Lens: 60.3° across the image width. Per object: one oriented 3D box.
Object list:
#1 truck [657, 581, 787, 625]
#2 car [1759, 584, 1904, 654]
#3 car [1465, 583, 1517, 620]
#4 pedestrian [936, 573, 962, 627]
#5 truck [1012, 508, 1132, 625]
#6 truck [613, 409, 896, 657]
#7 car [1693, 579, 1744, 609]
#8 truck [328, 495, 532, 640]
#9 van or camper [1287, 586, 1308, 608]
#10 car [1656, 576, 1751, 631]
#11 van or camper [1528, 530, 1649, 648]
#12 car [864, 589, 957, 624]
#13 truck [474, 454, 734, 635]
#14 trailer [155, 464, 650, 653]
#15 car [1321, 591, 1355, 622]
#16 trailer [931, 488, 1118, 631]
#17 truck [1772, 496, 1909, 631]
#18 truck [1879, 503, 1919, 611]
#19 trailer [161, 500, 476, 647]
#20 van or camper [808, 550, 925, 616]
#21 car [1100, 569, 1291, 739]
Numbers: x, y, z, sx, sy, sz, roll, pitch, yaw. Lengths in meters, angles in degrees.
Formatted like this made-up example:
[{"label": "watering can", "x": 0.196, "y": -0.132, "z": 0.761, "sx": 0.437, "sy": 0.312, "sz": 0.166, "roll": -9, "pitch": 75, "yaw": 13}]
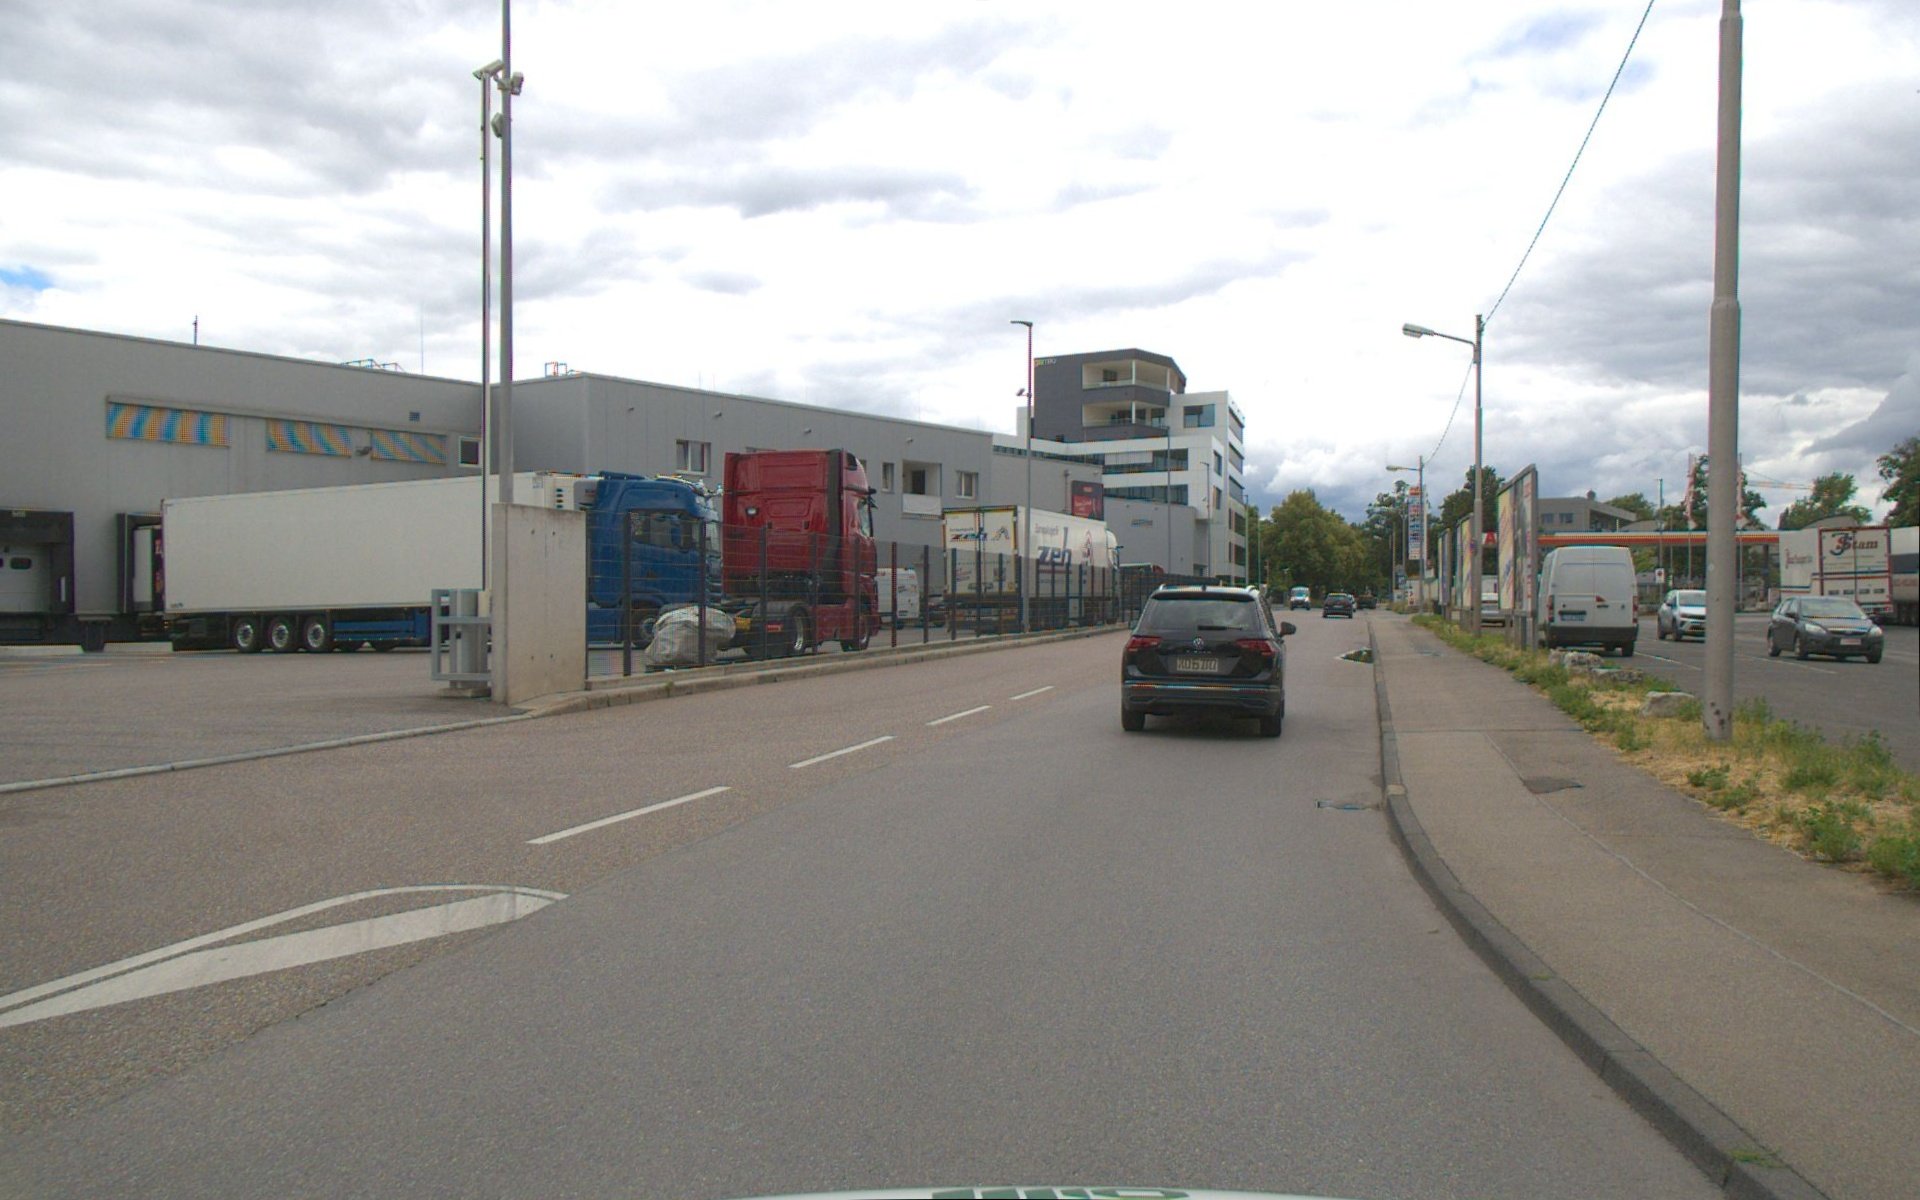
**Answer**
[{"label": "truck", "x": -9.287, "y": 0.111, "z": 64.505, "sx": 4.827, "sy": 1.681, "sz": 2.220, "roll": 0, "pitch": 0, "yaw": 34}, {"label": "car", "x": 20.392, "y": 0.417, "z": 38.888, "sx": 1.849, "sy": 1.470, "sz": 4.432, "roll": 2, "pitch": 0, "yaw": 12}, {"label": "car", "x": 22.765, "y": 0.058, "z": 71.022, "sx": 1.849, "sy": 1.470, "sz": 4.432, "roll": 2, "pitch": 0, "yaw": 15}, {"label": "pedestrian", "x": -0.376, "y": -0.004, "z": 57.672, "sx": 0.683, "sy": 1.861, "sz": 0.824, "roll": 0, "pitch": 0, "yaw": 19}, {"label": "truck", "x": 4.576, "y": -1.253, "z": 66.038, "sx": 3.062, "sy": 4.188, "sz": 6.945, "roll": -4, "pitch": -1, "yaw": 17}, {"label": "truck", "x": -3.603, "y": -1.106, "z": 31.038, "sx": 2.860, "sy": 4.091, "sz": 6.946, "roll": 0, "pitch": 0, "yaw": 15}, {"label": "car", "x": 44.702, "y": -0.360, "z": 97.551, "sx": 1.951, "sy": 1.736, "sz": 4.003, "roll": 0, "pitch": 0, "yaw": 12}, {"label": "truck", "x": -15.500, "y": -0.898, "z": 48.257, "sx": 5.806, "sy": 3.997, "sz": 2.792, "roll": 0, "pitch": 0, "yaw": 36}, {"label": "van or camper", "x": 35.788, "y": -0.276, "z": 175.315, "sx": 1.951, "sy": 2.296, "sz": 4.003, "roll": 0, "pitch": 0, "yaw": 14}, {"label": "car", "x": 23.457, "y": 0.102, "z": 52.315, "sx": 1.849, "sy": 1.640, "sz": 4.432, "roll": 0, "pitch": 0, "yaw": 12}, {"label": "van or camper", "x": 15.456, "y": -0.262, "z": 41.000, "sx": 2.208, "sy": 2.694, "sz": 6.118, "roll": 0, "pitch": 0, "yaw": 15}, {"label": "car", "x": -2.293, "y": 0.284, "z": 76.666, "sx": 3.917, "sy": 1.579, "sz": 1.994, "roll": 0, "pitch": 0, "yaw": 34}, {"label": "truck", "x": -8.263, "y": -1.254, "z": 38.949, "sx": 5.482, "sy": 4.091, "sz": 2.931, "roll": 0, "pitch": 0, "yaw": 0}, {"label": "trailer", "x": -14.291, "y": -0.930, "z": 41.653, "sx": 13.699, "sy": 4.257, "sz": 3.033, "roll": 0, "pitch": 0, "yaw": 26}, {"label": "car", "x": 23.262, "y": 0.367, "z": 101.737, "sx": 1.951, "sy": 1.780, "sz": 4.004, "roll": 0, "pitch": 1, "yaw": 13}, {"label": "trailer", "x": 2.681, "y": -1.287, "z": 59.769, "sx": 3.067, "sy": 4.335, "sz": 14.027, "roll": -4, "pitch": -1, "yaw": 17}, {"label": "truck", "x": 36.044, "y": -1.443, "z": 68.051, "sx": 3.237, "sy": 5.182, "sz": 8.519, "roll": 0, "pitch": 0, "yaw": 16}, {"label": "truck", "x": 39.753, "y": -1.705, "z": 66.306, "sx": 3.237, "sy": 4.218, "sz": 8.519, "roll": 0, "pitch": 0, "yaw": 16}, {"label": "trailer", "x": -20.351, "y": -0.743, "z": 51.825, "sx": 12.830, "sy": 4.179, "sz": 2.773, "roll": 0, "pitch": 0, "yaw": 36}, {"label": "van or camper", "x": -4.112, "y": -0.735, "z": 72.662, "sx": 4.883, "sy": 2.811, "sz": 2.098, "roll": 0, "pitch": 0, "yaw": 33}, {"label": "car", "x": 2.915, "y": 0.524, "z": 19.676, "sx": 1.951, "sy": 1.713, "sz": 4.375, "roll": 2, "pitch": 2, "yaw": 12}]
